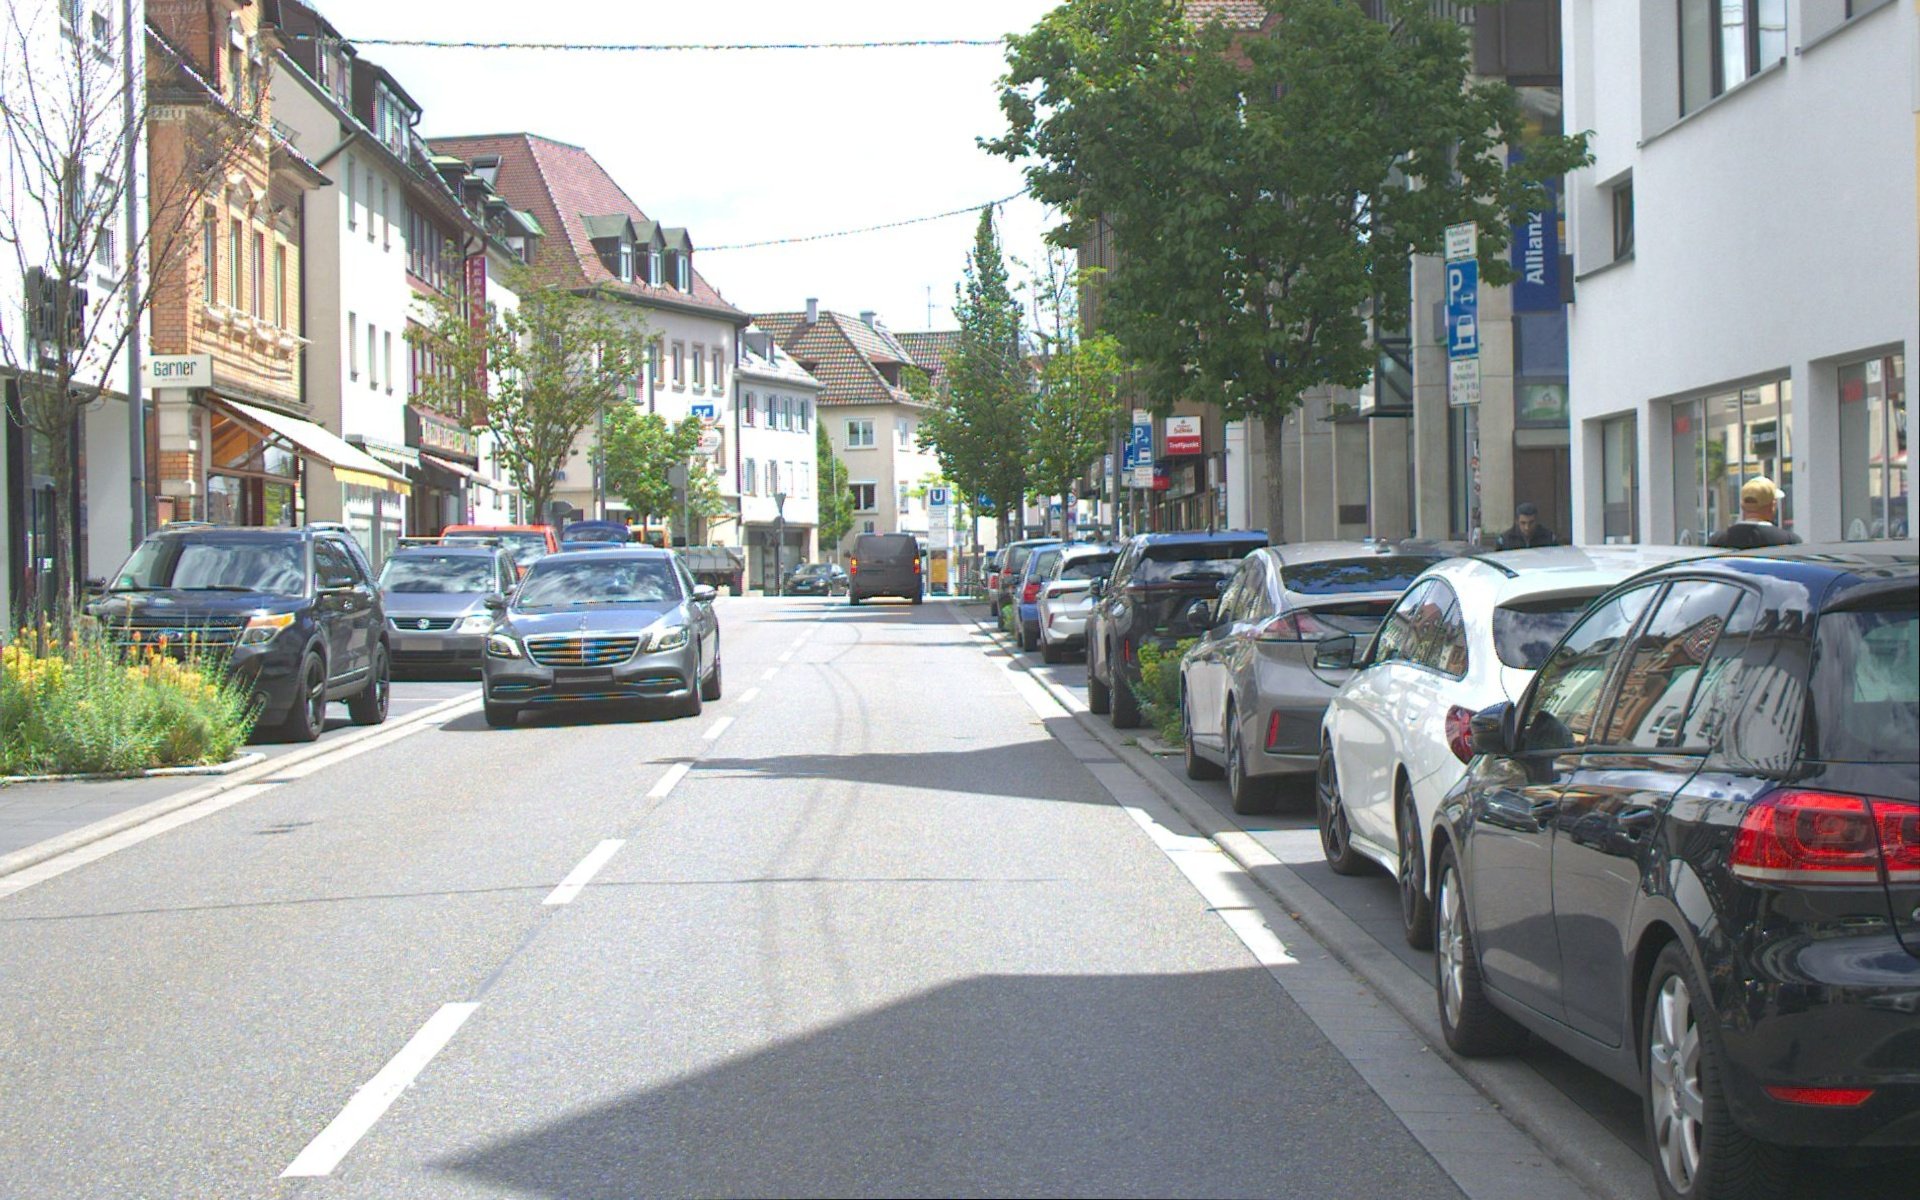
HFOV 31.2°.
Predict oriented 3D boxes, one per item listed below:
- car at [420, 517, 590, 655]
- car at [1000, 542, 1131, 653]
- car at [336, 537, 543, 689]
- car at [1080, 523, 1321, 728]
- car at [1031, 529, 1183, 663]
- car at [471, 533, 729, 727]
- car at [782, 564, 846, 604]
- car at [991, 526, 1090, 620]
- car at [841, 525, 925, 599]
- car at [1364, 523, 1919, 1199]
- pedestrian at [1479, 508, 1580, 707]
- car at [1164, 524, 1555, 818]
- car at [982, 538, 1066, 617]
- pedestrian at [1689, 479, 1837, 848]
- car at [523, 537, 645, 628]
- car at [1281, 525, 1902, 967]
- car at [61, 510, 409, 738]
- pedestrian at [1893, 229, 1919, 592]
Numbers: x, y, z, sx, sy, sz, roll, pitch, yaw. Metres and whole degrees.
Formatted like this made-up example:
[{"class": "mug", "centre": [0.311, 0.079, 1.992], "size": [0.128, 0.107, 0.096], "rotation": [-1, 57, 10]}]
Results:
[{"class": "car", "centre": [-6.526, -0.199, 49.769], "size": [1.816, 1.882, 4.841], "rotation": [1, 0, 0]}, {"class": "car", "centre": [1.451, -0.042, 48.685], "size": [1.721, 1.488, 4.109], "rotation": [1, 0, 0]}, {"class": "car", "centre": [-6.319, 0.145, 42.140], "size": [1.816, 1.749, 4.464], "rotation": [1, 0, 0]}, {"class": "car", "centre": [1.938, 0.194, 28.711], "size": [1.721, 1.571, 4.109], "rotation": [1, 0, 0]}, {"class": "car", "centre": [1.801, -0.052, 43.356], "size": [1.721, 1.571, 4.428], "rotation": [1, 0, 0]}, {"class": "car", "centre": [-3.220, 0.210, 31.593], "size": [1.905, 1.558, 4.646], "rotation": [-2, 2, -1]}, {"class": "car", "centre": [-5.554, -0.603, 131.076], "size": [1.625, 1.481, 3.803], "rotation": [1, 0, 11]}, {"class": "car", "centre": [1.371, -0.485, 59.627], "size": [1.609, 1.527, 3.795], "rotation": [-2, 1, 0]}, {"class": "car", "centre": [-2.036, -0.975, 89.761], "size": [2.040, 1.842, 5.000], "rotation": [1, 0, -3]}, {"class": "car", "centre": [2.224, 0.586, 8.774], "size": [1.689, 1.467, 4.524], "rotation": [1, 2, -2]}, {"class": "pedestrian", "centre": [5.025, 0.064, 30.380], "size": [0.741, 1.731, 0.757], "rotation": [1, 0, 0]}, {"class": "car", "centre": [2.160, 0.356, 19.641], "size": [1.721, 1.471, 4.354], "rotation": [1, 0, 0]}, {"class": "car", "centre": [1.314, -0.489, 71.753], "size": [1.609, 1.490, 3.795], "rotation": [-4, 1, 0]}, {"class": "pedestrian", "centre": [4.071, 0.316, 17.456], "size": [0.588, 1.834, 0.576], "rotation": [1, 0, 0]}, {"class": "car", "centre": [-6.812, -0.345, 62.576], "size": [1.799, 1.592, 4.389], "rotation": [0, 1, -1]}, {"class": "car", "centre": [2.365, 0.487, 14.099], "size": [1.630, 1.471, 4.957], "rotation": [1, 0, 0]}, {"class": "car", "centre": [-6.015, 0.181, 29.063], "size": [1.816, 1.749, 4.668], "rotation": [1, 0, 2]}, {"class": "pedestrian", "centre": [5.136, -0.954, 17.506], "size": [0.588, 1.834, 0.576], "rotation": [1, 0, 0]}]
